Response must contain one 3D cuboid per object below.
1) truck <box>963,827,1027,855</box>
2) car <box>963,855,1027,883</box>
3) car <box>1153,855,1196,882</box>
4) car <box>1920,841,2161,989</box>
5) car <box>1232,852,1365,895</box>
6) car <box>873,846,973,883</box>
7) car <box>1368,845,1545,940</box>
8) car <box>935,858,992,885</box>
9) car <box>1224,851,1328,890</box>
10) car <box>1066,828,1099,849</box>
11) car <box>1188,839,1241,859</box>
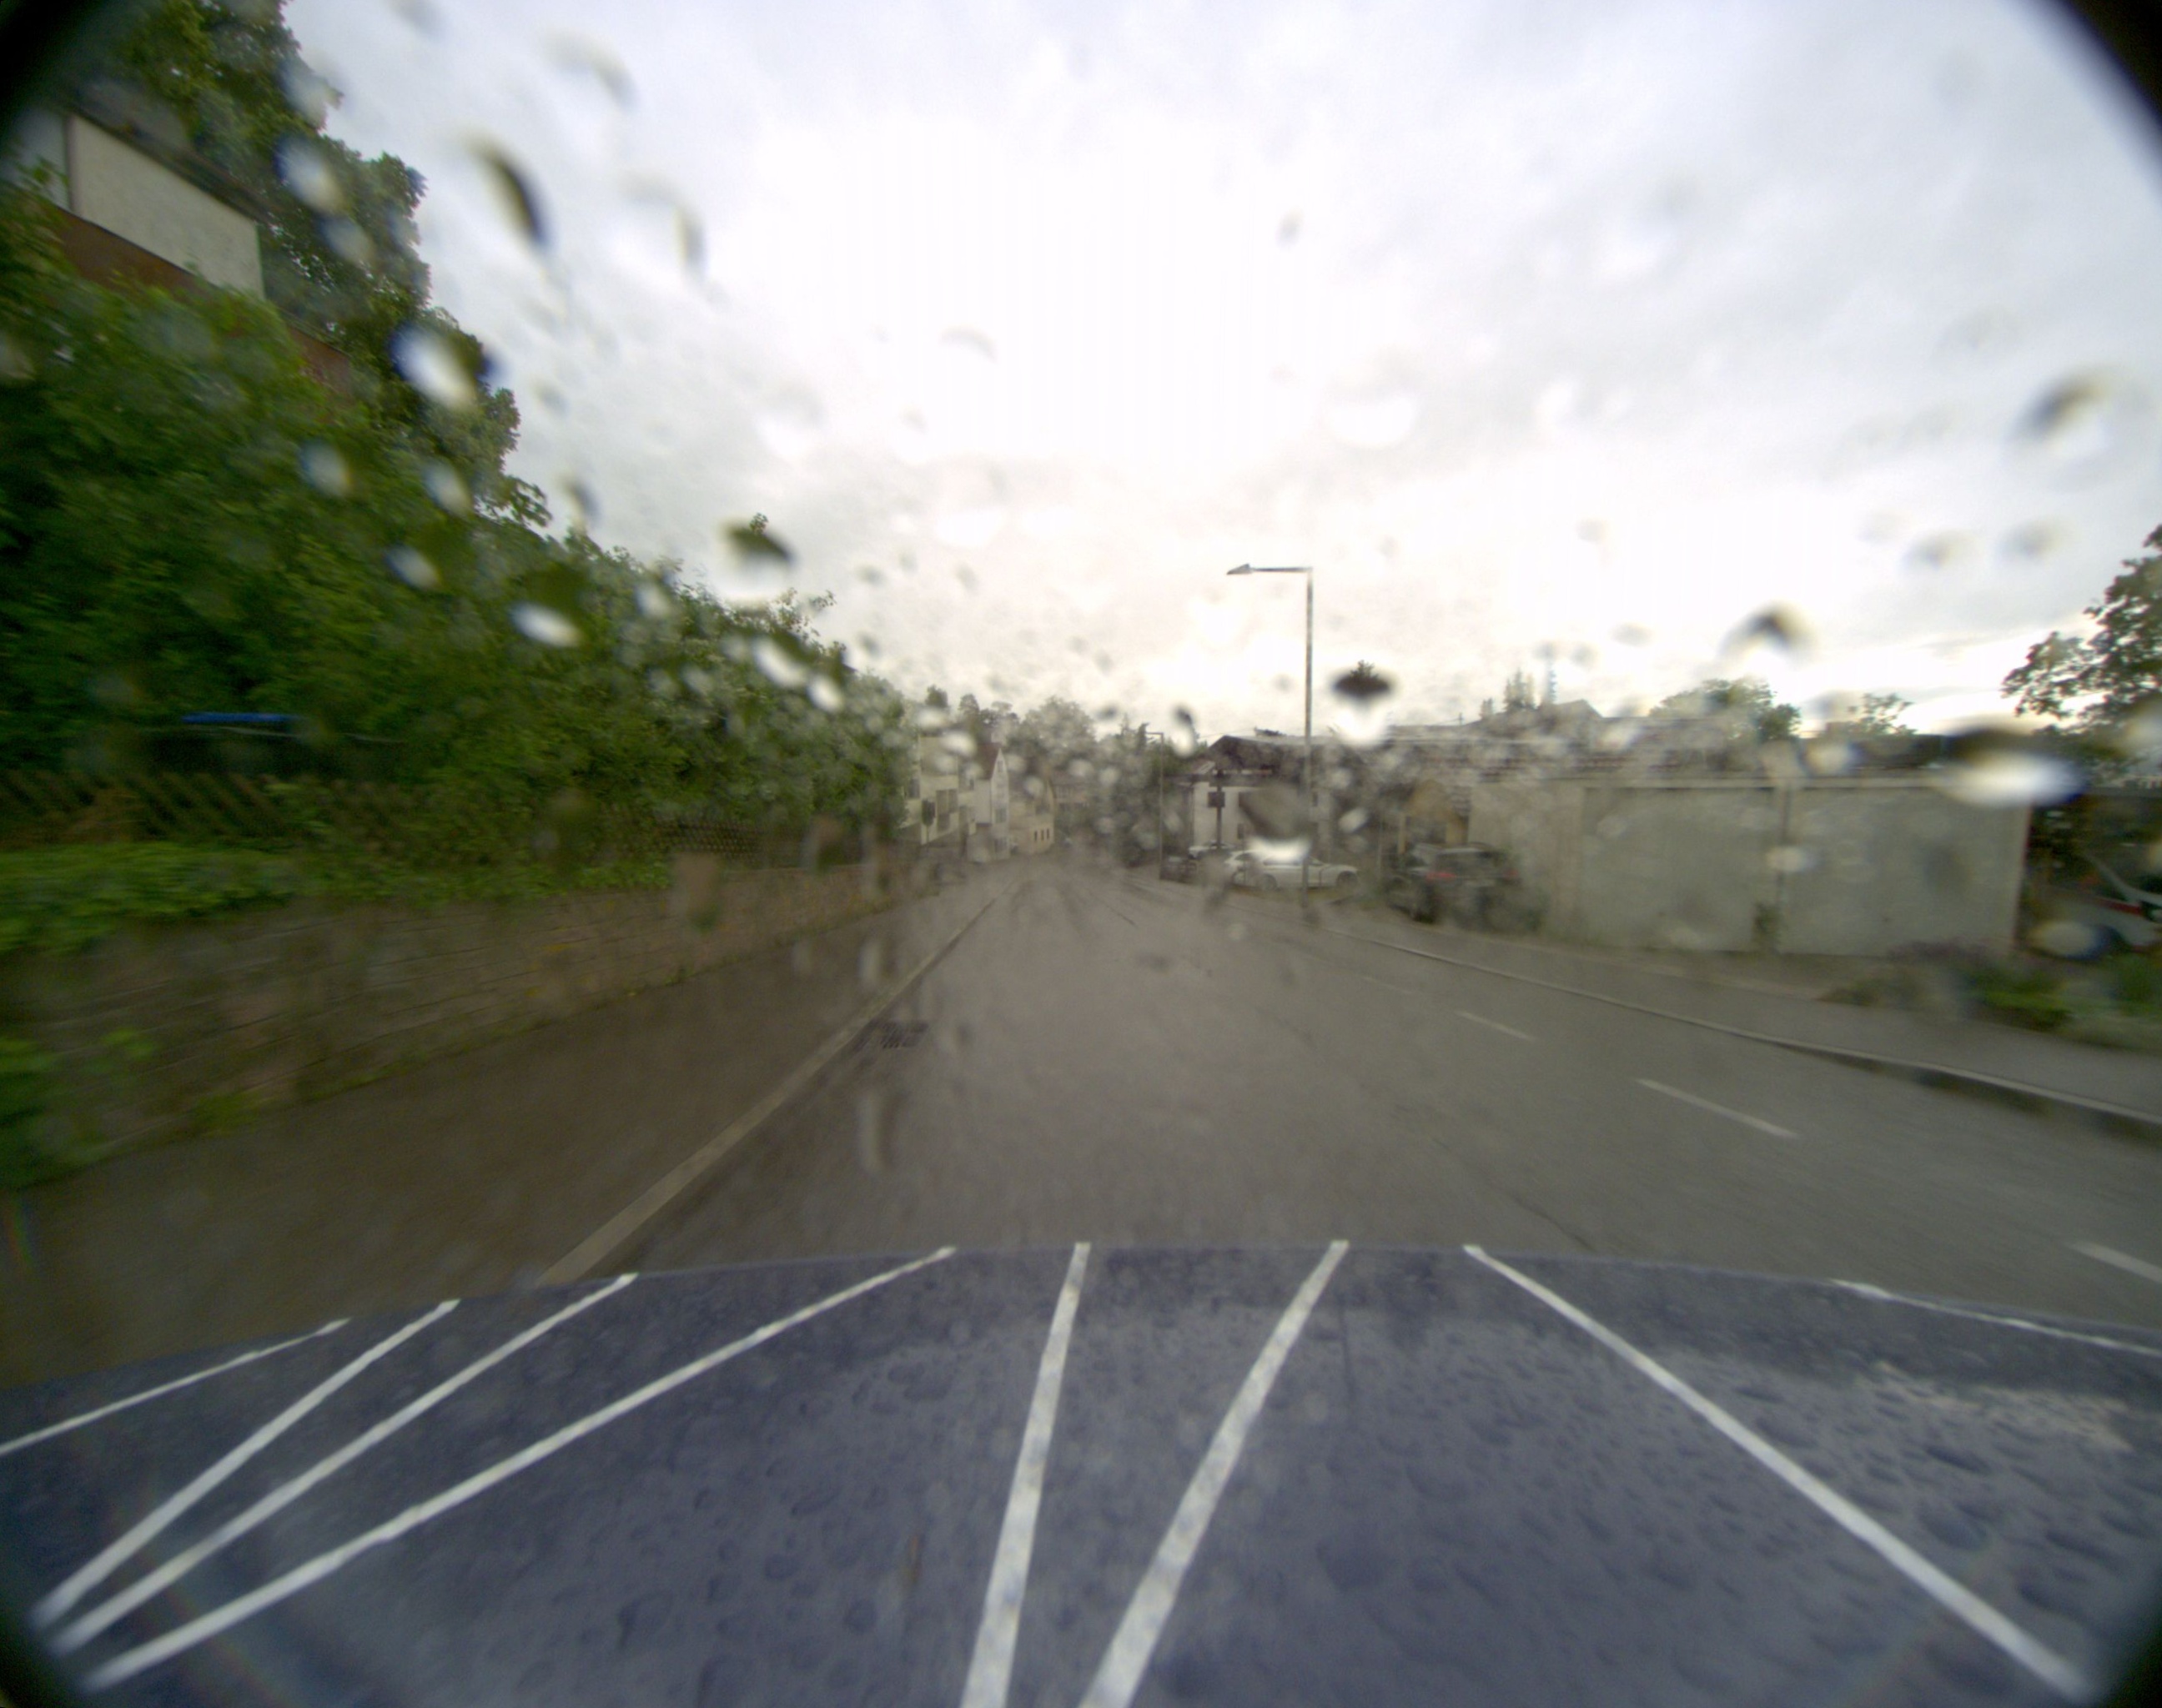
[{"bbox_3d":[-10.108,-1.563,89.219,6.966,2.688,2.142,5,3,11],"label":"truck"},{"bbox_3d":[-5.572,0.962,49.640,1.783,1.569,4.074,-1,1,35],"label":"car"},{"bbox_3d":[5.454,0.828,44.807,1.899,1.433,4.444,2,1,-1],"label":"car"},{"bbox_3d":[17.490,0.927,12.980,1.971,1.991,4.110,3,5,10],"label":"car"},{"bbox_3d":[7.902,0.684,28.031,4.504,1.496,1.902,0,1,9],"label":"car"},{"bbox_3d":[-7.961,0.529,38.552,4.721,1.809,1.999,0,1,-3],"label":"car"},{"bbox_3d":[7.509,0.640,15.819,1.977,1.650,4.966,0,1,10],"label":"car"},{"bbox_3d":[-7.849,1.161,51.005,1.783,1.569,4.073,-2,1,25],"label":"car"},{"bbox_3d":[7.992,0.634,31.134,3.992,1.496,1.903,0,1,16],"label":"car"},{"bbox_3d":[0.247,-2.202,108.765,4.302,2.738,1.996,1,5,-11],"label":"car"},{"bbox_3d":[10.795,-0.401,61.616,3.998,1.500,1.802,0,4,-2],"label":"car"}]
